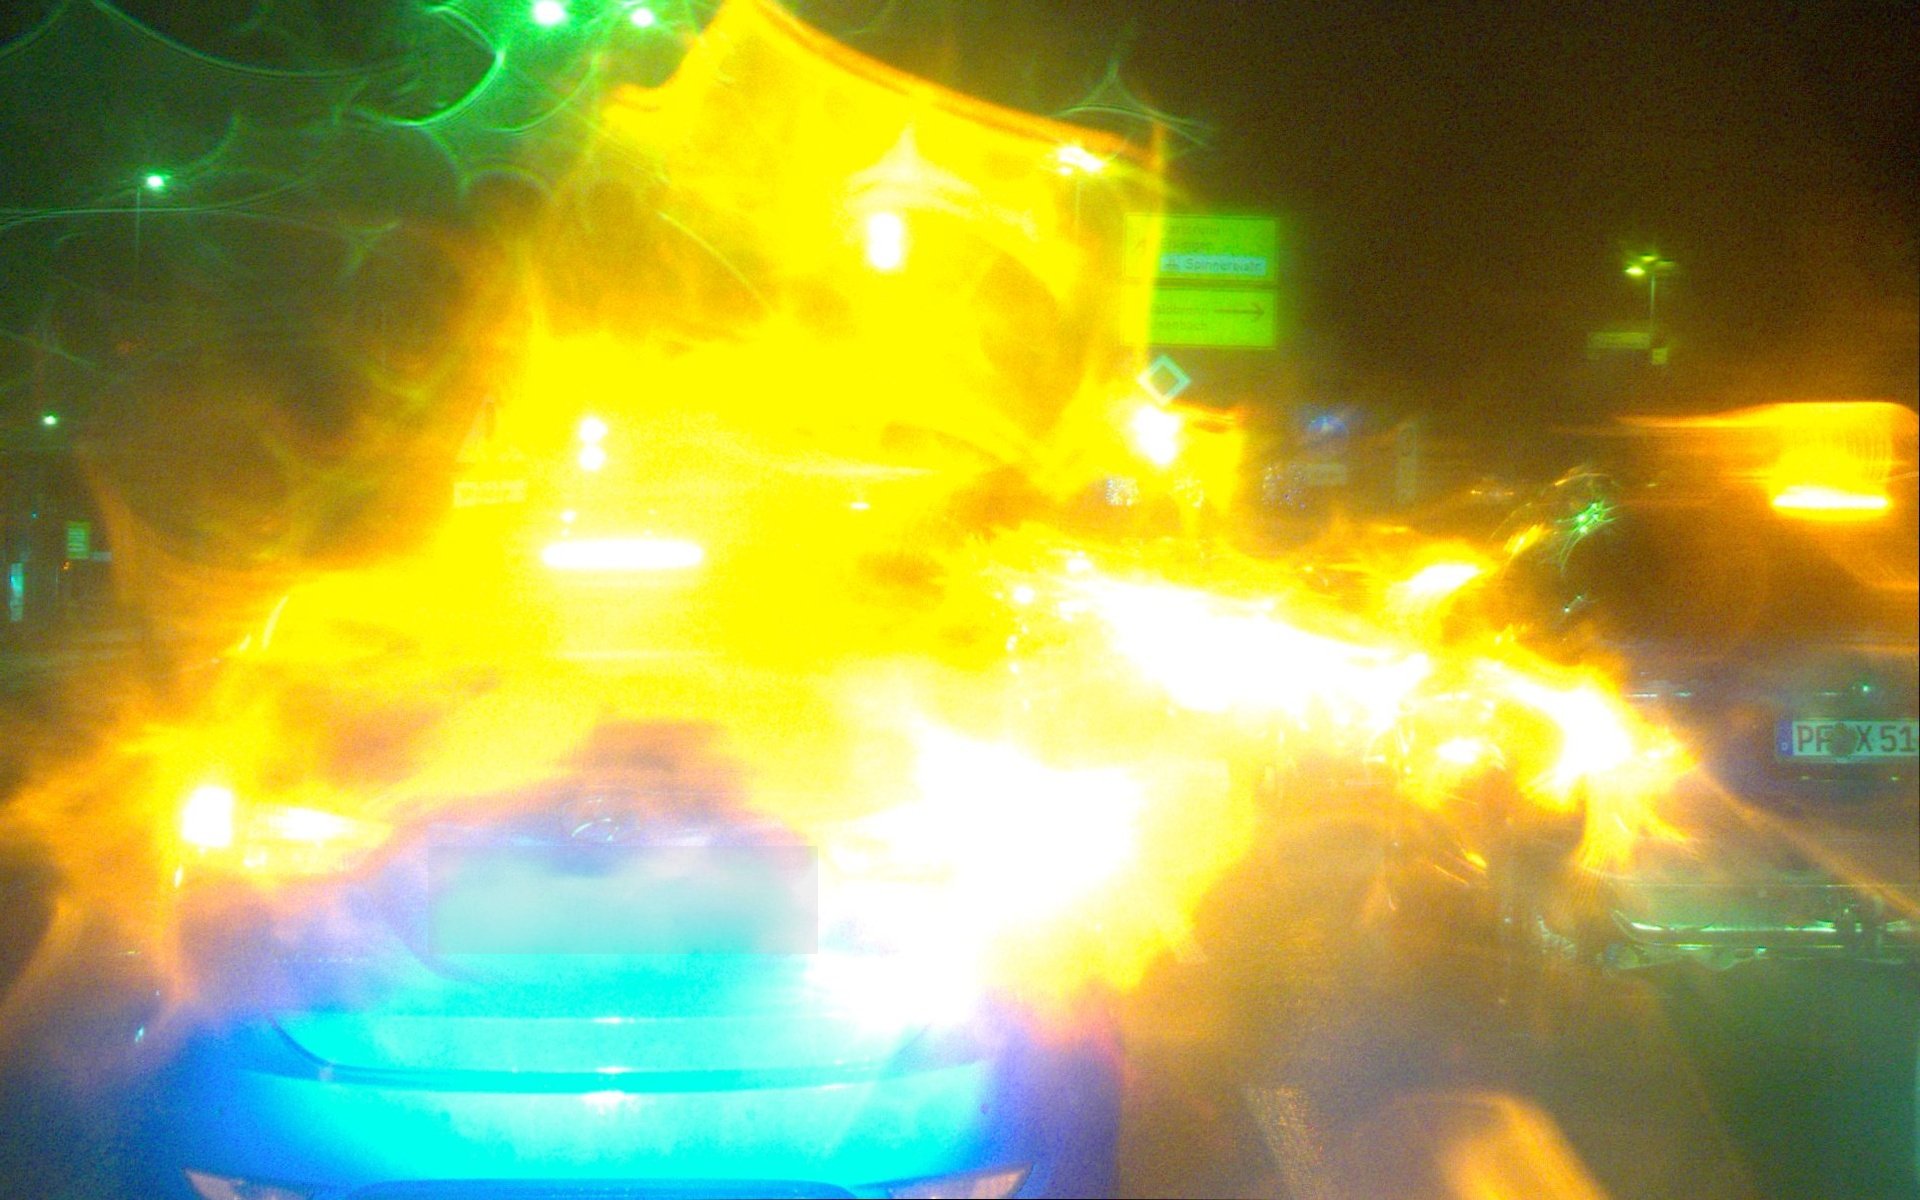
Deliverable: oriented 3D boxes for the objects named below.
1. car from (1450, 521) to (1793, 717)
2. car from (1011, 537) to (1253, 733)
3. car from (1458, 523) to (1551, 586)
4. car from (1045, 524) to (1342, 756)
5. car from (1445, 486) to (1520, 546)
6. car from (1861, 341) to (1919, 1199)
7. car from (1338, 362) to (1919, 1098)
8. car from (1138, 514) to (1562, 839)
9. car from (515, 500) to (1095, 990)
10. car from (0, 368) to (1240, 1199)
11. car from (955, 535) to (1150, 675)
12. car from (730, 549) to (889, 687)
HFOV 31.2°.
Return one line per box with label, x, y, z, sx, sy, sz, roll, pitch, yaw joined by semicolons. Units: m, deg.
car;5.217;0.094;27.637;1.784;1.437;4.238;-1;1;-2
car;1.605;0.302;33.510;1.993;1.767;4.000;1;1;-2
car;14.861;-1.242;94.064;1.865;1.641;3.963;-2;1;0
car;1.754;0.271;27.078;1.993;1.664;4.000;1;1;-1
car;18.469;-2.959;121.661;1.993;2.007;4.000;1;1;-1
car;2.471;0.548;3.604;1.851;1.858;4.341;1;1;-1
car;2.519;0.351;11.612;1.968;2.040;4.000;1;1;-1
car;2.198;0.392;20.455;1.993;1.712;4.000;1;1;-1
car;-0.564;0.485;13.967;1.993;1.678;4.000;1;1;-1
car;-0.667;0.482;7.679;2.014;1.711;4.452;1;1;-2
car;1.037;0.035;40.489;1.857;1.539;3.931;1;1;-5
car;-2.135;0.219;47.850;1.993;1.818;4.001;1;1;-5
